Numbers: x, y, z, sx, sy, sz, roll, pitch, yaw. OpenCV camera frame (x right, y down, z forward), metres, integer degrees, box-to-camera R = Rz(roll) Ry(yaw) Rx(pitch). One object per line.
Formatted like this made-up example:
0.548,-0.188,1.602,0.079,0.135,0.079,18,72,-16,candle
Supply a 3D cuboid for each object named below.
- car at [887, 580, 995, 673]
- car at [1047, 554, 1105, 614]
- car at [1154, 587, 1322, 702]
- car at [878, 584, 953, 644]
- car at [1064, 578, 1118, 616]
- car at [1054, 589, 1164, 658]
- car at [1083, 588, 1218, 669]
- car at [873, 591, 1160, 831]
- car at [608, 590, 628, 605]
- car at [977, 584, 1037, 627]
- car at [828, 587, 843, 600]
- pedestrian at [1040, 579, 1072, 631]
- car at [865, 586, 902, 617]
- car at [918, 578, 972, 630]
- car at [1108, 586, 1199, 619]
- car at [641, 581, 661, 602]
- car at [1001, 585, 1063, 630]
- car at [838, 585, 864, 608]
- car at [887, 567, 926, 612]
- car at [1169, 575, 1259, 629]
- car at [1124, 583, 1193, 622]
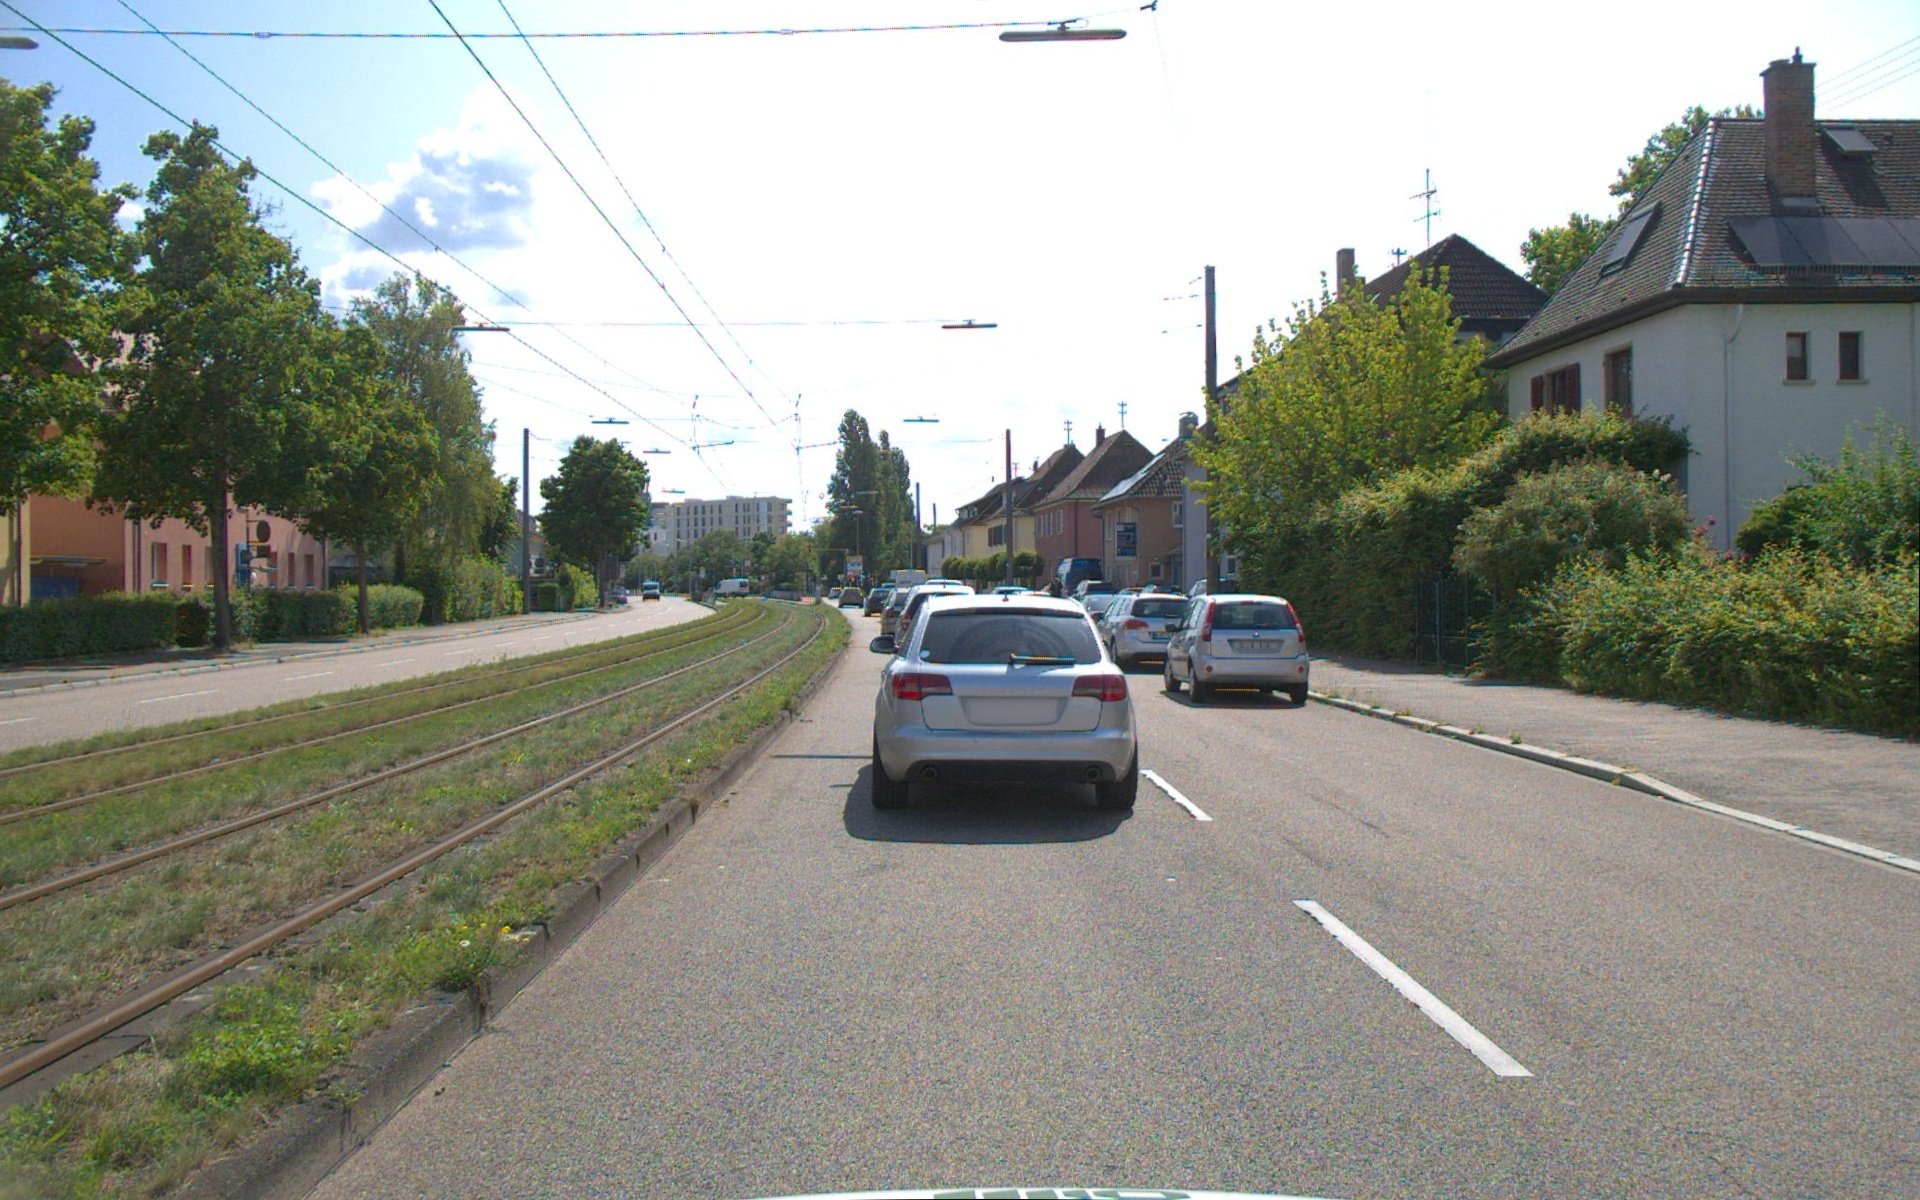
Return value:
-0.419,0.468,31.551,1.752,1.604,4.090,2,0,-5,car
6.068,-0.806,87.528,2.109,2.981,6.238,1,0,-5,car
3.982,0.612,24.276,1.702,1.515,4.093,1,0,-1,car
-1.237,0.344,44.136,1.847,1.491,4.091,-1,0,-3,car
6.412,-0.185,81.290,1.801,1.741,4.858,-2,1,-6,car
3.432,0.508,39.032,1.862,1.469,5.055,1,1,-3,car
3.773,0.543,33.609,1.852,1.481,5.002,1,0,-4,car
0.270,0.698,12.790,1.817,1.518,4.534,0,0,-2,car
-36.340,-0.305,175.751,1.753,1.612,3.923,0,0,-8,car
1.795,0.214,64.448,1.772,1.587,4.248,1,0,-6,car
-15.741,-0.825,209.036,1.848,1.557,4.091,1,0,-4,car
3.717,0.177,63.885,1.090,1.980,1.091,0,0,-4,pedestrian
-4.011,0.081,86.068,1.848,1.557,4.091,1,0,-4,car
-0.551,0.115,59.087,1.847,1.761,4.094,-1,0,-1,car
8.309,0.120,71.178,3.579,1.404,1.724,0,-1,-7,car
-37.472,-1.047,200.456,2.156,2.413,5.321,-2,0,-9,car
2.454,0.264,57.495,1.778,1.479,4.641,1,0,-2,car
-7.896,-0.253,119.831,1.848,1.557,4.091,1,0,-4,car
-3.222,-0.636,98.907,2.001,2.602,5.225,0,0,-5,car
8.441,0.070,55.393,1.723,1.676,4.762,-1,0,-7,car
7.784,0.078,65.329,1.763,1.448,4.853,-1,0,-5,car
